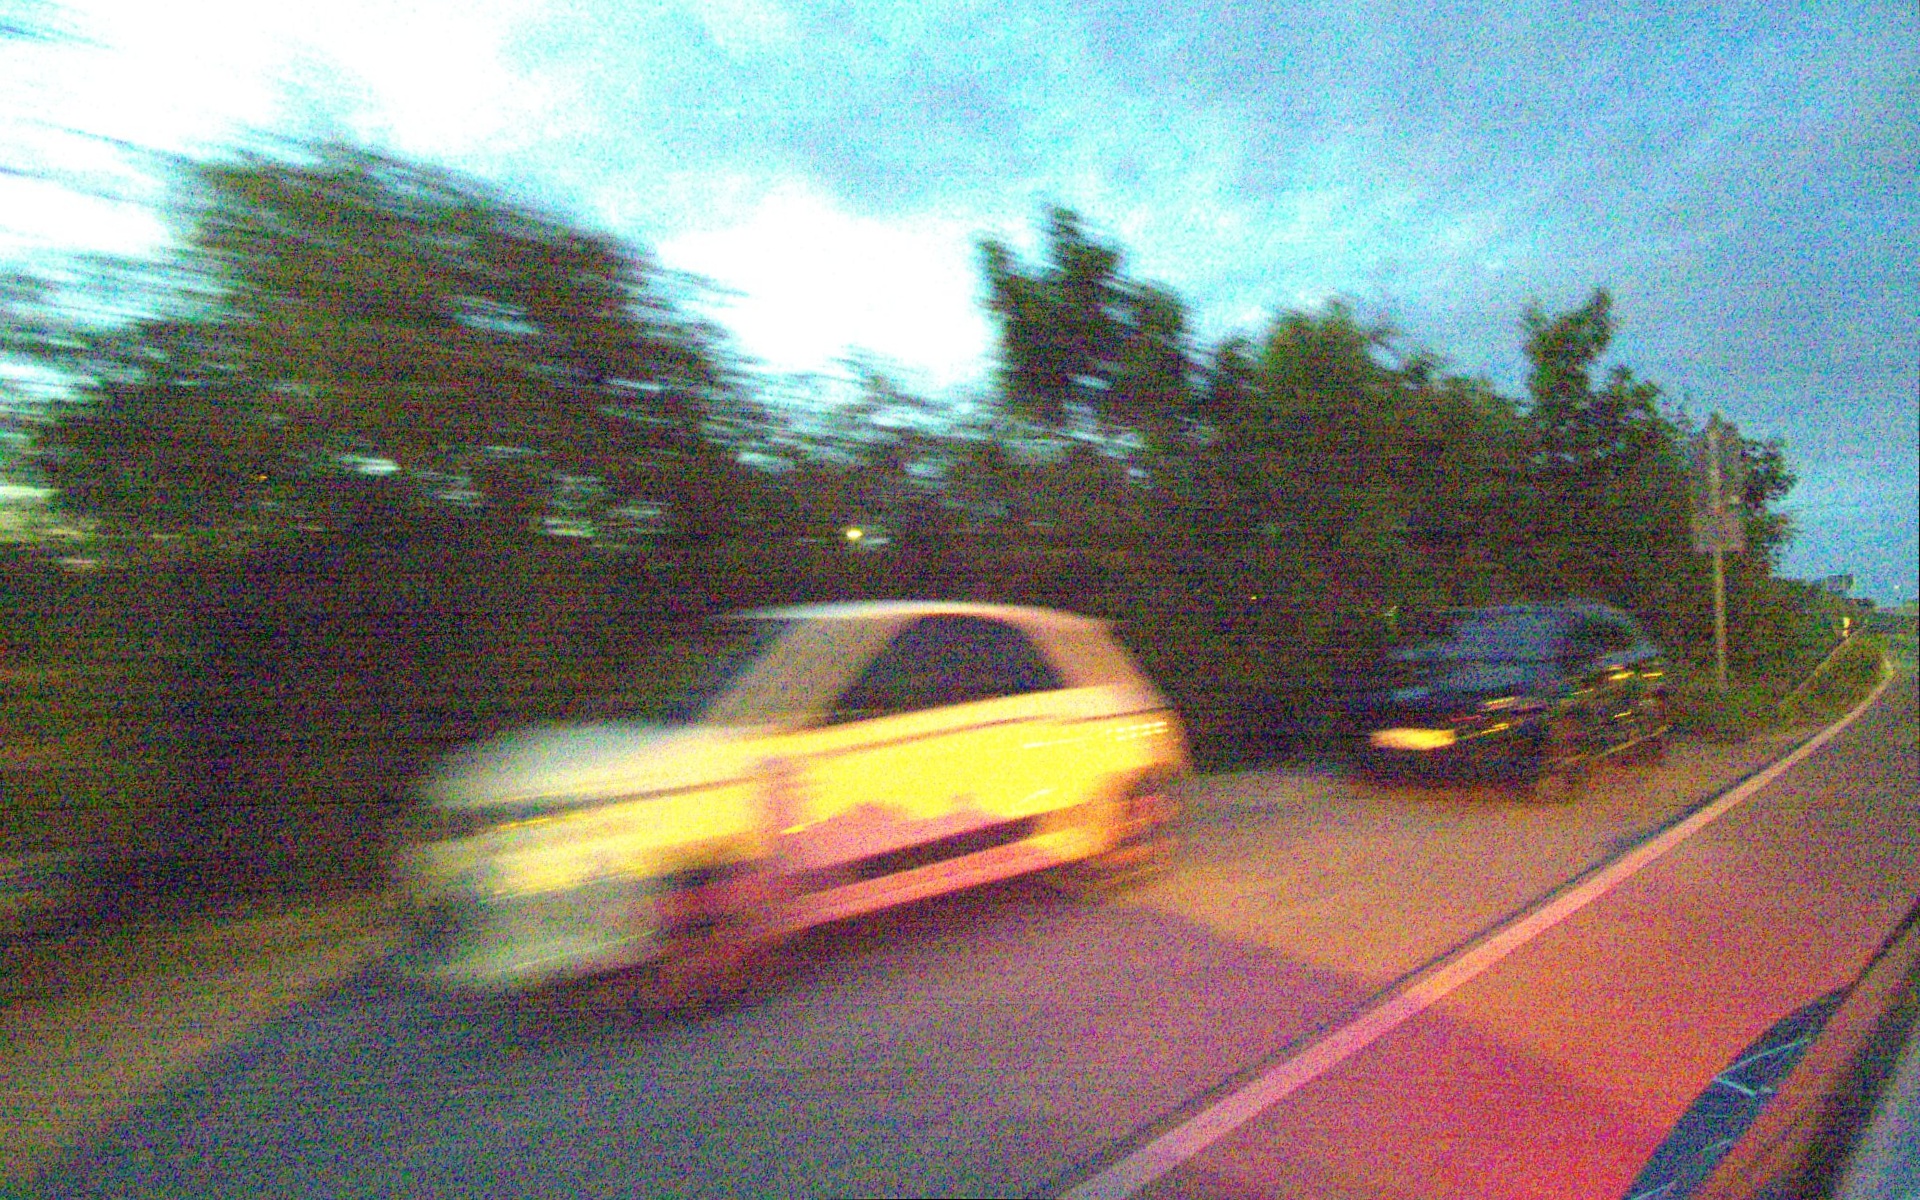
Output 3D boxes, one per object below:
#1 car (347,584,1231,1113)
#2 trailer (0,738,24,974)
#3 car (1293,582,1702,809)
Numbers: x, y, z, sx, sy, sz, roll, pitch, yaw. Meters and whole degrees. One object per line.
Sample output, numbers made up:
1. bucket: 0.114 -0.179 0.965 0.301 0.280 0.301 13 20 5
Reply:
1. car: -0.627 0.769 5.063 3.930 1.572 1.937 0 -2 -41
2. trailer: -7.640 1.106 1.173 9.440 0.979 2.178 0 -3 -38
3. car: 5.038 0.713 9.216 4.253 1.572 1.995 1 -3 -43
